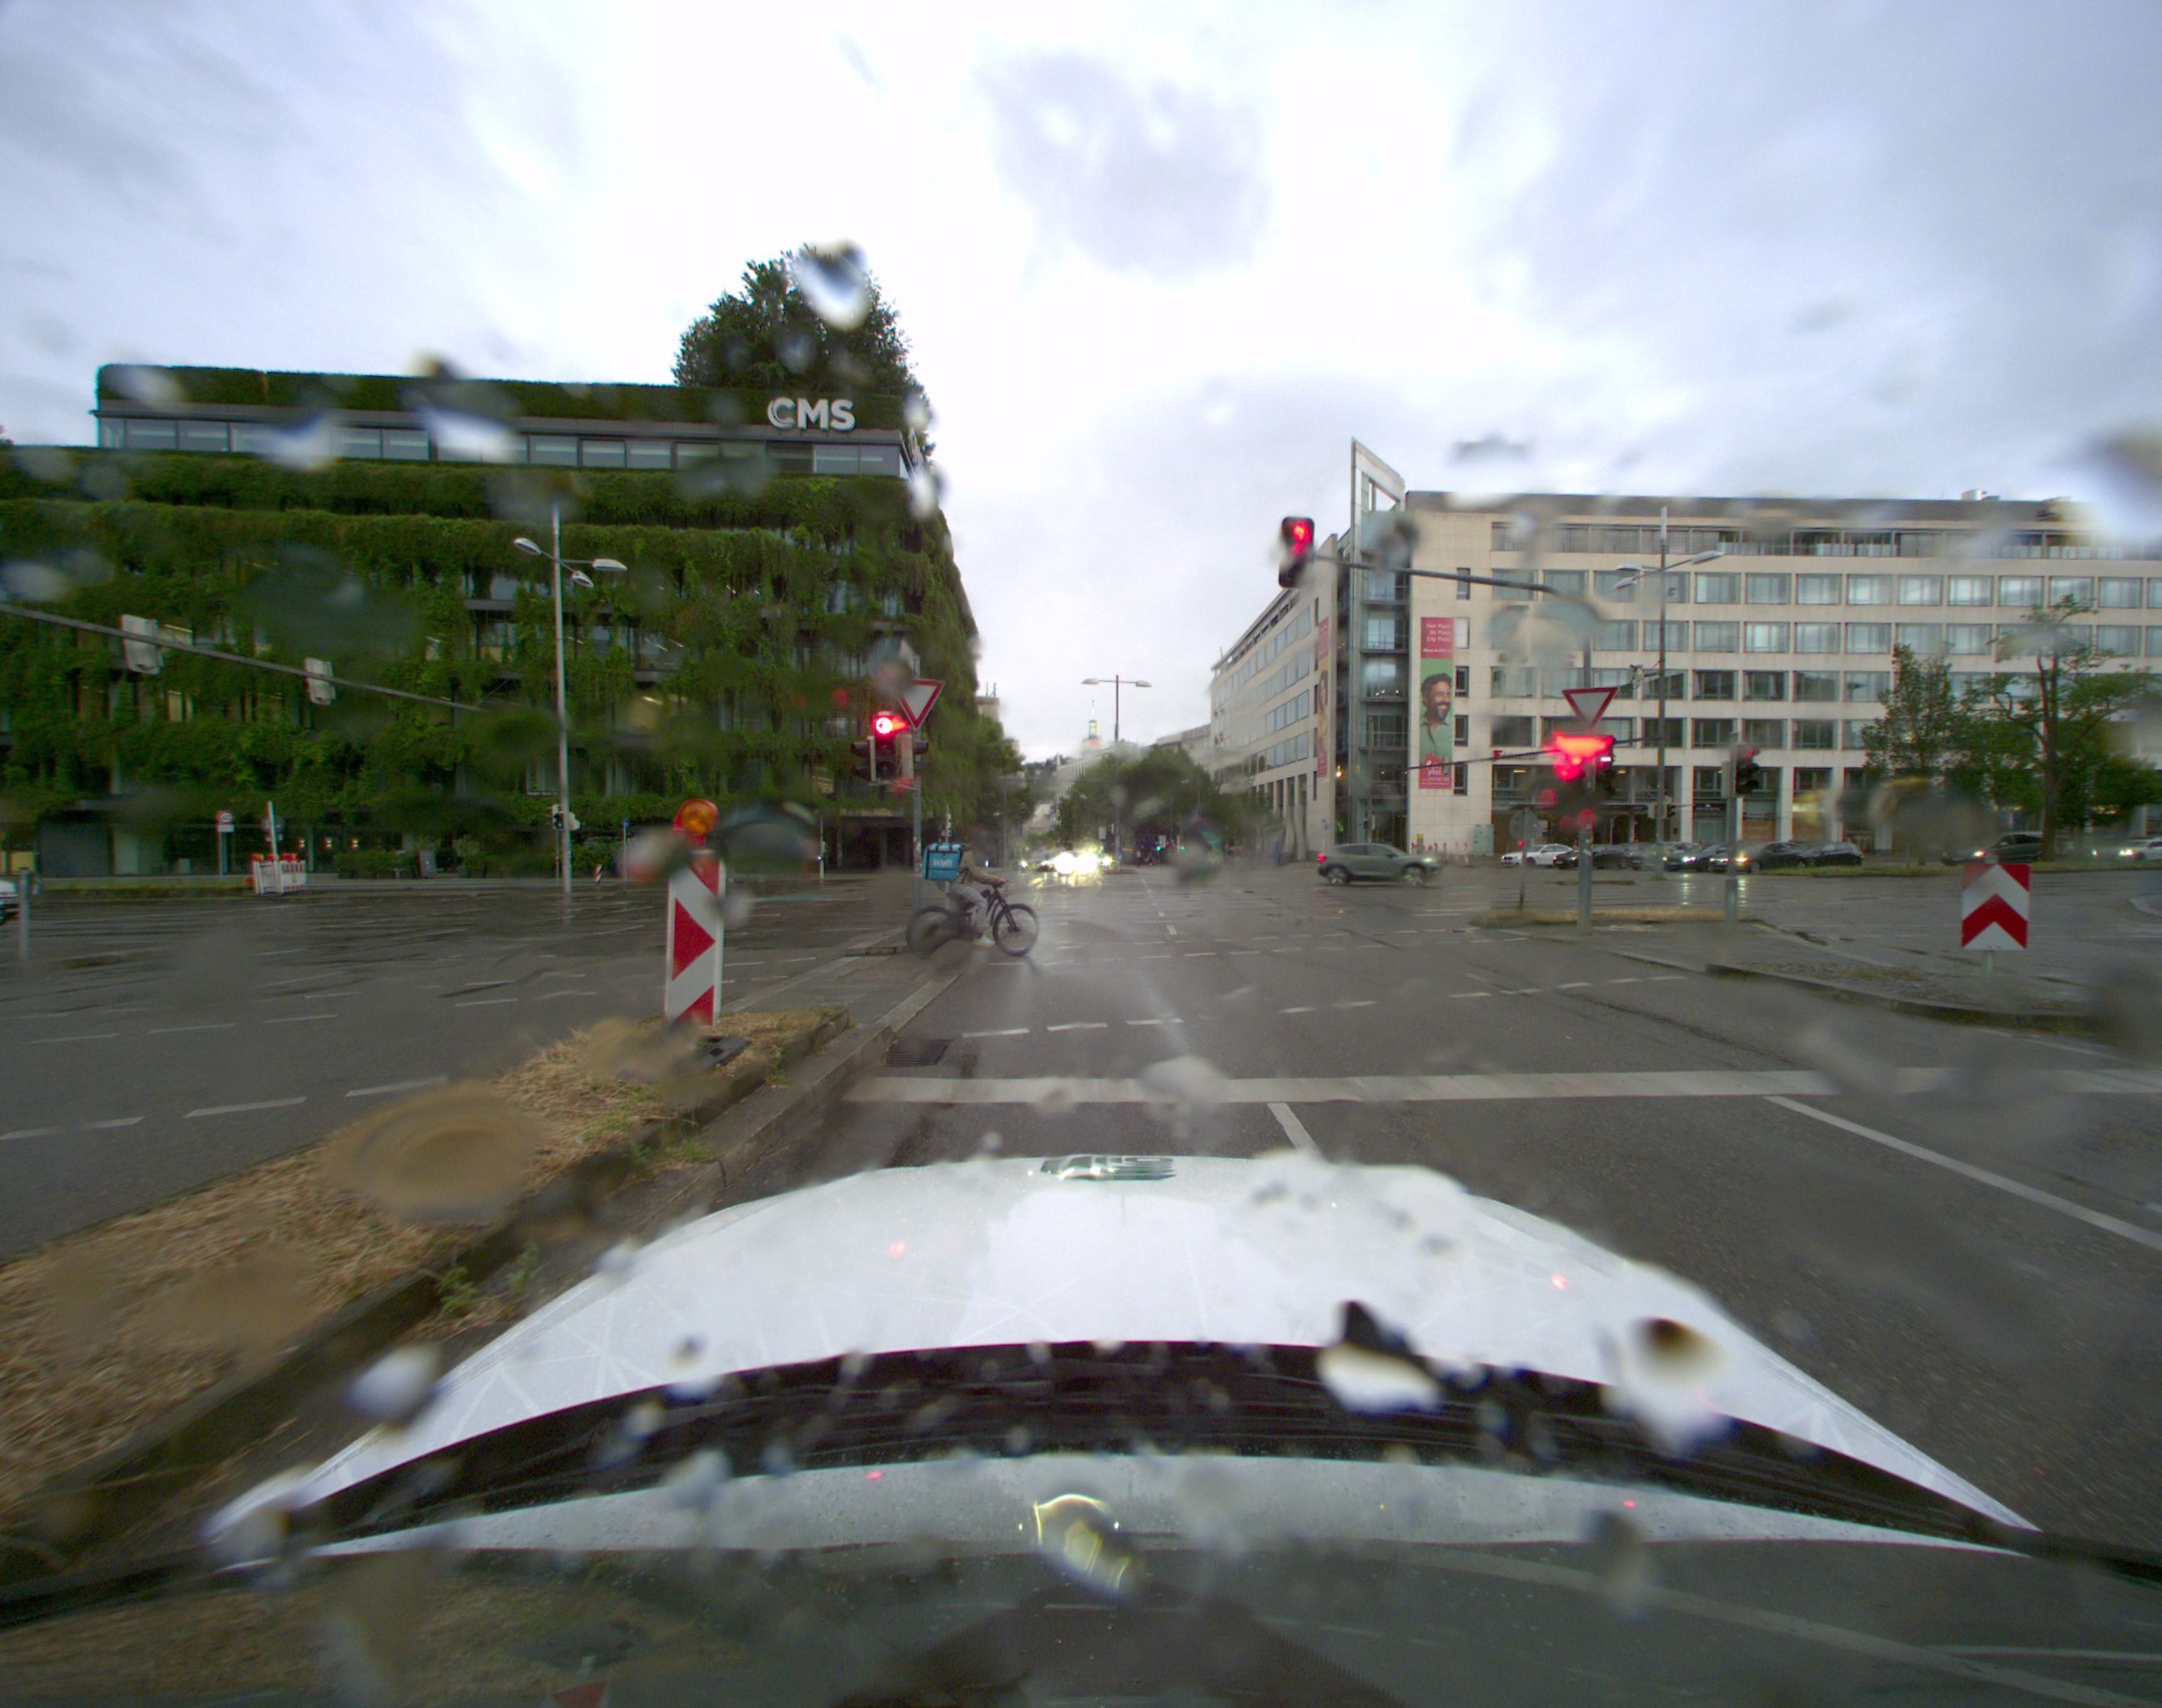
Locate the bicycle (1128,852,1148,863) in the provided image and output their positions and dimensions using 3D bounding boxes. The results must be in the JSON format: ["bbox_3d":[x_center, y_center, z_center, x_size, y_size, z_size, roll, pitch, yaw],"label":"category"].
[{"bbox_3d":[5.910,0.369,84.340,0.798,1.117,2.229,0,0,-39],"label":"bicycle"}]

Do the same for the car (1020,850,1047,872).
[{"bbox_3d":[-3.398,0.509,58.970,1.851,1.448,4.617,-1,1,-2],"label":"car"}]

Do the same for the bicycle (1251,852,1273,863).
[{"bbox_3d":[14.928,0.300,67.253,1.778,0.934,0.478,0,0,43],"label":"bicycle"}]

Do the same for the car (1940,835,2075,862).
[{"bbox_3d":[49.067,-0.272,43.217,4.609,1.348,1.931,-1,0,8],"label":"car"}]

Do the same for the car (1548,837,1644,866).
[{"bbox_3d":[29.235,-0.147,46.256,4.451,1.598,1.993,-1,0,-10],"label":"car"}]

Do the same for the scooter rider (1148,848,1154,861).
[{"bbox_3d":[9.247,0.089,107.111,0.759,1.774,0.797,-1,0,4],"label":"scooter rider"}]

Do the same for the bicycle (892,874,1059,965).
[{"bbox_3d":[-1.455,0.865,11.365,2.157,1.103,0.841,-1,0,-27],"label":"bicycle"}]

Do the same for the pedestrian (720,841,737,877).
[{"bbox_3d":[-17.294,0.226,39.977,0.744,1.758,0.969,-1,0,-22],"label":"pedestrian"}]

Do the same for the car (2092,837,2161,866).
[{"bbox_3d":[62.947,-0.184,48.414,4.180,1.623,1.727,-1,2,-8],"label":"car"}]

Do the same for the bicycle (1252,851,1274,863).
[{"bbox_3d":[14.867,0.263,66.510,1.778,0.934,0.478,0,0,43],"label":"bicycle"}]

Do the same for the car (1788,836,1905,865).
[{"bbox_3d":[37.520,-0.181,39.952,4.639,1.348,1.919,-1,0,-13],"label":"car"}]

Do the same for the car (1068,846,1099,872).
[{"bbox_3d":[0.150,0.318,58.739,1.960,1.655,4.359,-1,1,-4],"label":"car"}]

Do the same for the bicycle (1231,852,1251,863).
[{"bbox_3d":[14.421,0.304,73.447,1.786,0.934,0.476,-1,0,4],"label":"bicycle"}]

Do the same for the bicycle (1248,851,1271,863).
[{"bbox_3d":[14.208,0.272,64.916,1.778,0.934,0.478,0,0,43],"label":"bicycle"}]

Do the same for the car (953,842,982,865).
[{"bbox_3d":[-9.682,-0.049,69.584,1.989,1.895,4.461,-1,0,-2],"label":"car"}]

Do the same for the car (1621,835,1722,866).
[{"bbox_3d":[31.703,-0.185,43.779,4.455,1.598,1.991,-1,0,-13],"label":"car"}]

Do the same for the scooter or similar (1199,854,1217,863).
[{"bbox_3d":[12.547,0.438,80.549,1.750,0.878,0.486,-1,0,-18],"label":"scooter or similar"}]

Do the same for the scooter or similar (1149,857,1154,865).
[{"bbox_3d":[9.248,0.865,107.099,0.553,1.007,1.826,-1,0,5],"label":"scooter or similar"}]

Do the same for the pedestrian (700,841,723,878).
[{"bbox_3d":[-18.022,0.265,39.722,0.939,1.758,1.163,-1,0,-22],"label":"pedestrian"}]

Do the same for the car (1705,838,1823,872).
[{"bbox_3d":[31.129,0.013,37.145,4.452,1.464,1.716,-1,0,-11],"label":"car"}]

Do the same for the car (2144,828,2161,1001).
[{"bbox_3d":[9.748,0.541,4.973,1.690,1.529,4.446,0,0,17],"label":"car"}]

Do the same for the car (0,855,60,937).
[{"bbox_3d":[-27.115,1.013,19.089,3.451,1.922,1.992,-1,0,-11],"label":"car"}]

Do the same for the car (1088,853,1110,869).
[{"bbox_3d":[1.734,0.662,80.740,1.988,1.443,4.554,-1,0,-1],"label":"car"}]

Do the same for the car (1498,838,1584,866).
[{"bbox_3d":[28.017,-0.121,49.632,4.456,1.598,1.991,-1,0,-14],"label":"car"}]

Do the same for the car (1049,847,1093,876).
[{"bbox_3d":[-0.637,0.370,46.968,1.992,1.486,4.452,-1,1,-8],"label":"car"}]

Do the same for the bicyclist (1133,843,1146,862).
[{"bbox_3d":[6.032,-0.187,84.182,0.798,1.975,1.101,0,0,-40],"label":"bicyclist"}]

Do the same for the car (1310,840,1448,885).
[{"bbox_3d":[10.833,0.289,29.654,4.498,1.550,2.012,-1,0,27],"label":"car"}]

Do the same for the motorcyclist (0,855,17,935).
[{"bbox_3d":[-23.505,0.871,17.060,1.187,1.703,0.844,-1,0,-15],"label":"motorcyclist"}]

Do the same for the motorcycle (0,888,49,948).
[{"bbox_3d":[-23.485,1.351,17.063,2.231,1.210,0.844,-1,0,-15],"label":"motorcycle"}]

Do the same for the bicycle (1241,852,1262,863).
[{"bbox_3d":[14.989,0.296,71.583,1.786,0.934,0.476,-1,0,4],"label":"bicycle"}]

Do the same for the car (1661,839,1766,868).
[{"bbox_3d":[31.347,-0.051,40.373,4.455,1.348,1.715,-1,0,-13],"label":"car"}]

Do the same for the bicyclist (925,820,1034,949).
[{"bbox_3d":[-1.432,0.398,11.427,1.302,1.704,0.840,-1,0,-28],"label":"bicyclist"}]

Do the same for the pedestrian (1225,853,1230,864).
[{"bbox_3d":[15.622,0.433,86.879,0.353,1.173,0.413,-1,0,-11],"label":"pedestrian"}]

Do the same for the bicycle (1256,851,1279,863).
[{"bbox_3d":[14.998,0.259,65.540,1.778,0.934,0.478,0,0,43],"label":"bicycle"}]

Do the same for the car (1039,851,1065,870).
[{"bbox_3d":[-2.358,0.486,65.417,1.853,1.448,4.614,-1,1,-4],"label":"car"}]
